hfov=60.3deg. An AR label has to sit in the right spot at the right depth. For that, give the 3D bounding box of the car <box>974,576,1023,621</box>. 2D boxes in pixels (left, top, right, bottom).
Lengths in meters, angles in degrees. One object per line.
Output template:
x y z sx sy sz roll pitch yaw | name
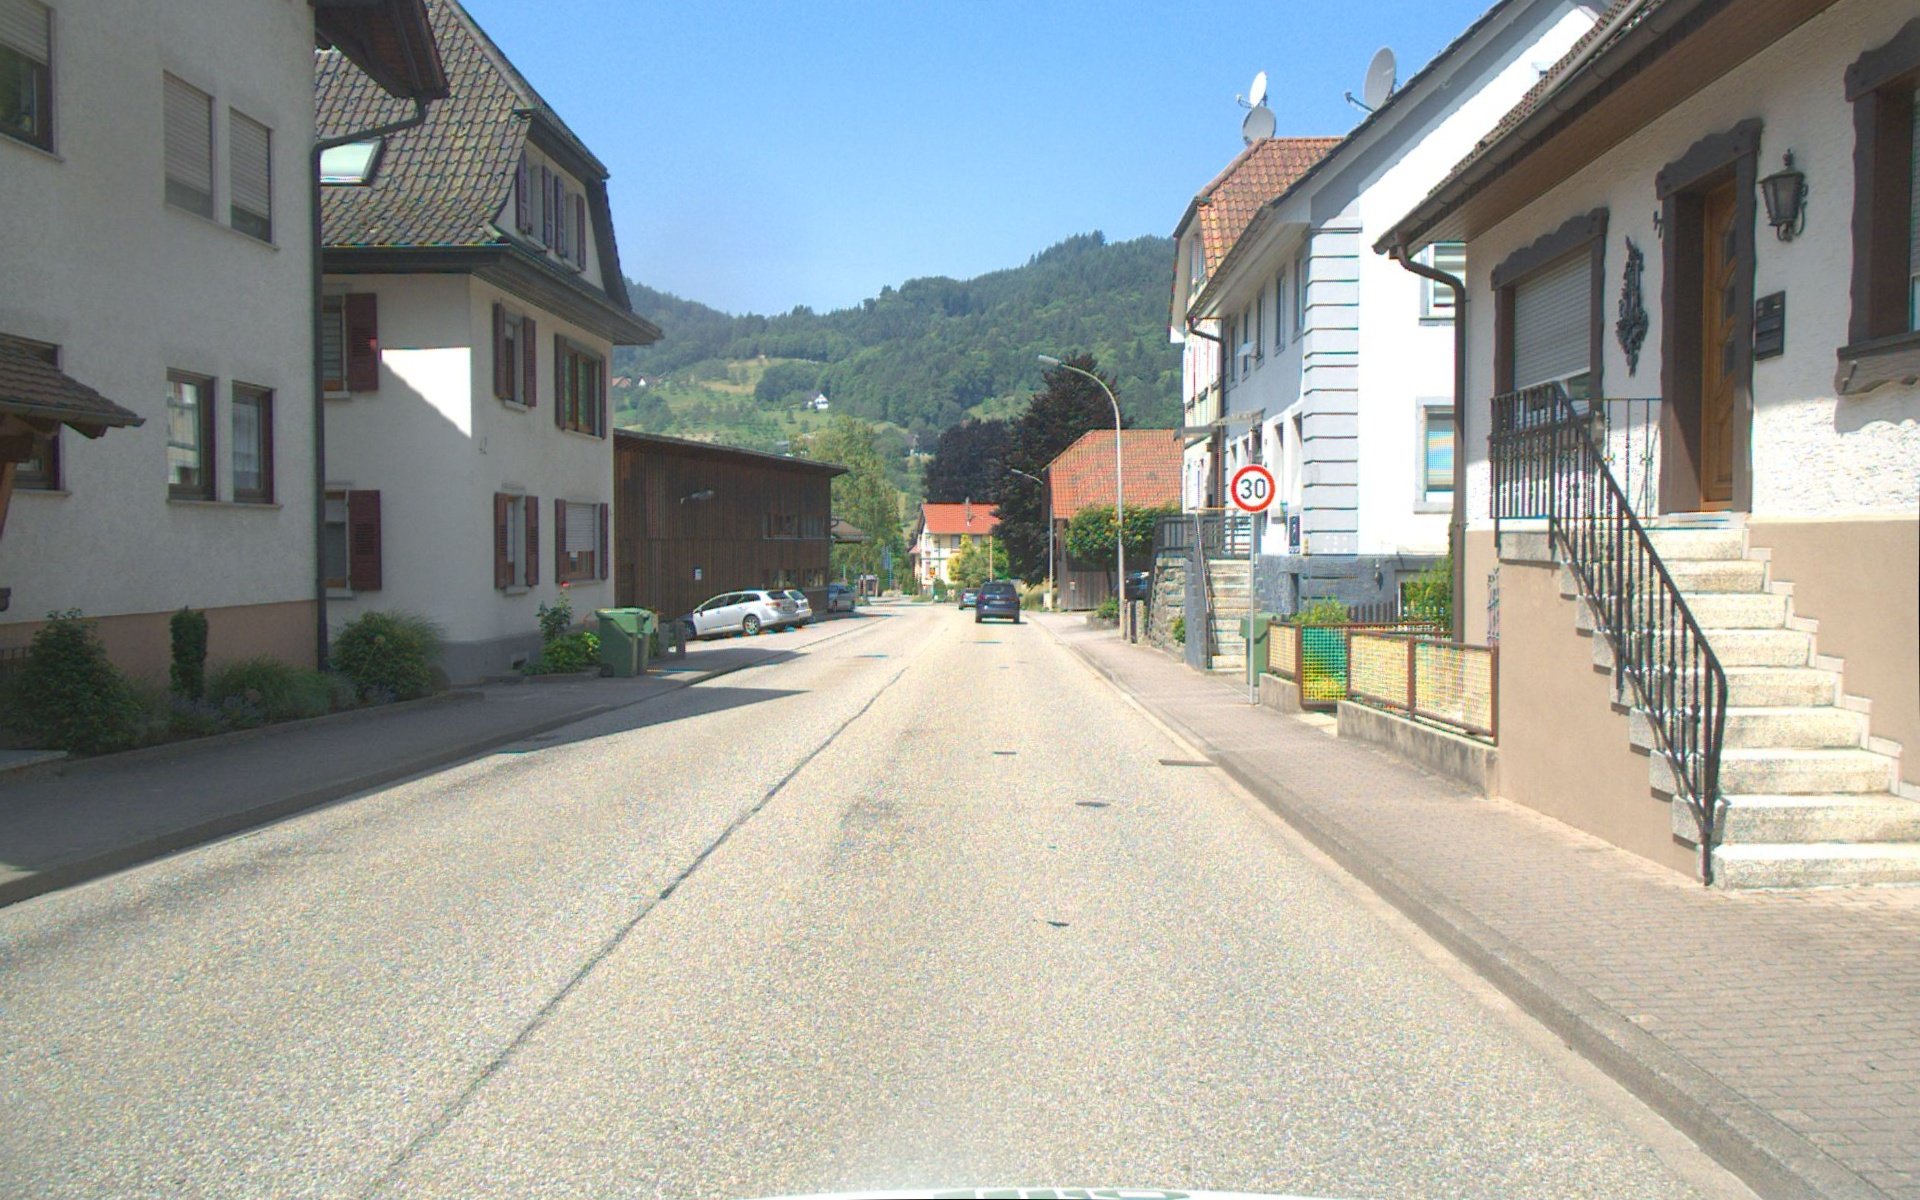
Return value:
1.525 -0.076 66.977 1.880 1.728 3.788 -1 0 0 | car

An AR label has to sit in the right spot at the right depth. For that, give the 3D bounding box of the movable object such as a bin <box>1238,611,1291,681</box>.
4.610 0.691 25.053 0.690 1.038 0.618 -1 0 2 | movable object such as a bin

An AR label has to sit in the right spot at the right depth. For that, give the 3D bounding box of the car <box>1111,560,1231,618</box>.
7.644 -0.413 60.183 4.133 1.716 1.778 -5 0 4 | car

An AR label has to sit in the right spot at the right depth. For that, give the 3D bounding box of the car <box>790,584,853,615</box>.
-6.967 -0.047 83.860 1.692 1.479 4.809 0 2 14 | car

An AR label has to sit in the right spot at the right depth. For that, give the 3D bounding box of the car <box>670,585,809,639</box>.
-7.619 0.416 57.139 4.343 1.500 1.923 -4 0 27 | car

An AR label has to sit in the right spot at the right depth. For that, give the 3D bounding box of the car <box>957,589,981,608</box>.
0.593 -0.099 112.565 1.448 1.230 2.382 -1 0 -4 | car

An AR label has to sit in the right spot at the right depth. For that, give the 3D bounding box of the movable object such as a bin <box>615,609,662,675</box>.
-5.366 0.698 27.639 0.662 1.085 0.621 -1 0 -1 | movable object such as a bin

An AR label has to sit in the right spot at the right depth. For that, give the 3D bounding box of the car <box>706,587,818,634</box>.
-7.192 0.386 60.061 3.582 1.409 1.712 -5 0 16 | car

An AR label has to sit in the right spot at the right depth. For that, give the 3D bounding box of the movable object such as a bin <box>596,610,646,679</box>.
-5.491 0.715 26.795 0.662 1.085 0.653 -1 0 -1 | movable object such as a bin
